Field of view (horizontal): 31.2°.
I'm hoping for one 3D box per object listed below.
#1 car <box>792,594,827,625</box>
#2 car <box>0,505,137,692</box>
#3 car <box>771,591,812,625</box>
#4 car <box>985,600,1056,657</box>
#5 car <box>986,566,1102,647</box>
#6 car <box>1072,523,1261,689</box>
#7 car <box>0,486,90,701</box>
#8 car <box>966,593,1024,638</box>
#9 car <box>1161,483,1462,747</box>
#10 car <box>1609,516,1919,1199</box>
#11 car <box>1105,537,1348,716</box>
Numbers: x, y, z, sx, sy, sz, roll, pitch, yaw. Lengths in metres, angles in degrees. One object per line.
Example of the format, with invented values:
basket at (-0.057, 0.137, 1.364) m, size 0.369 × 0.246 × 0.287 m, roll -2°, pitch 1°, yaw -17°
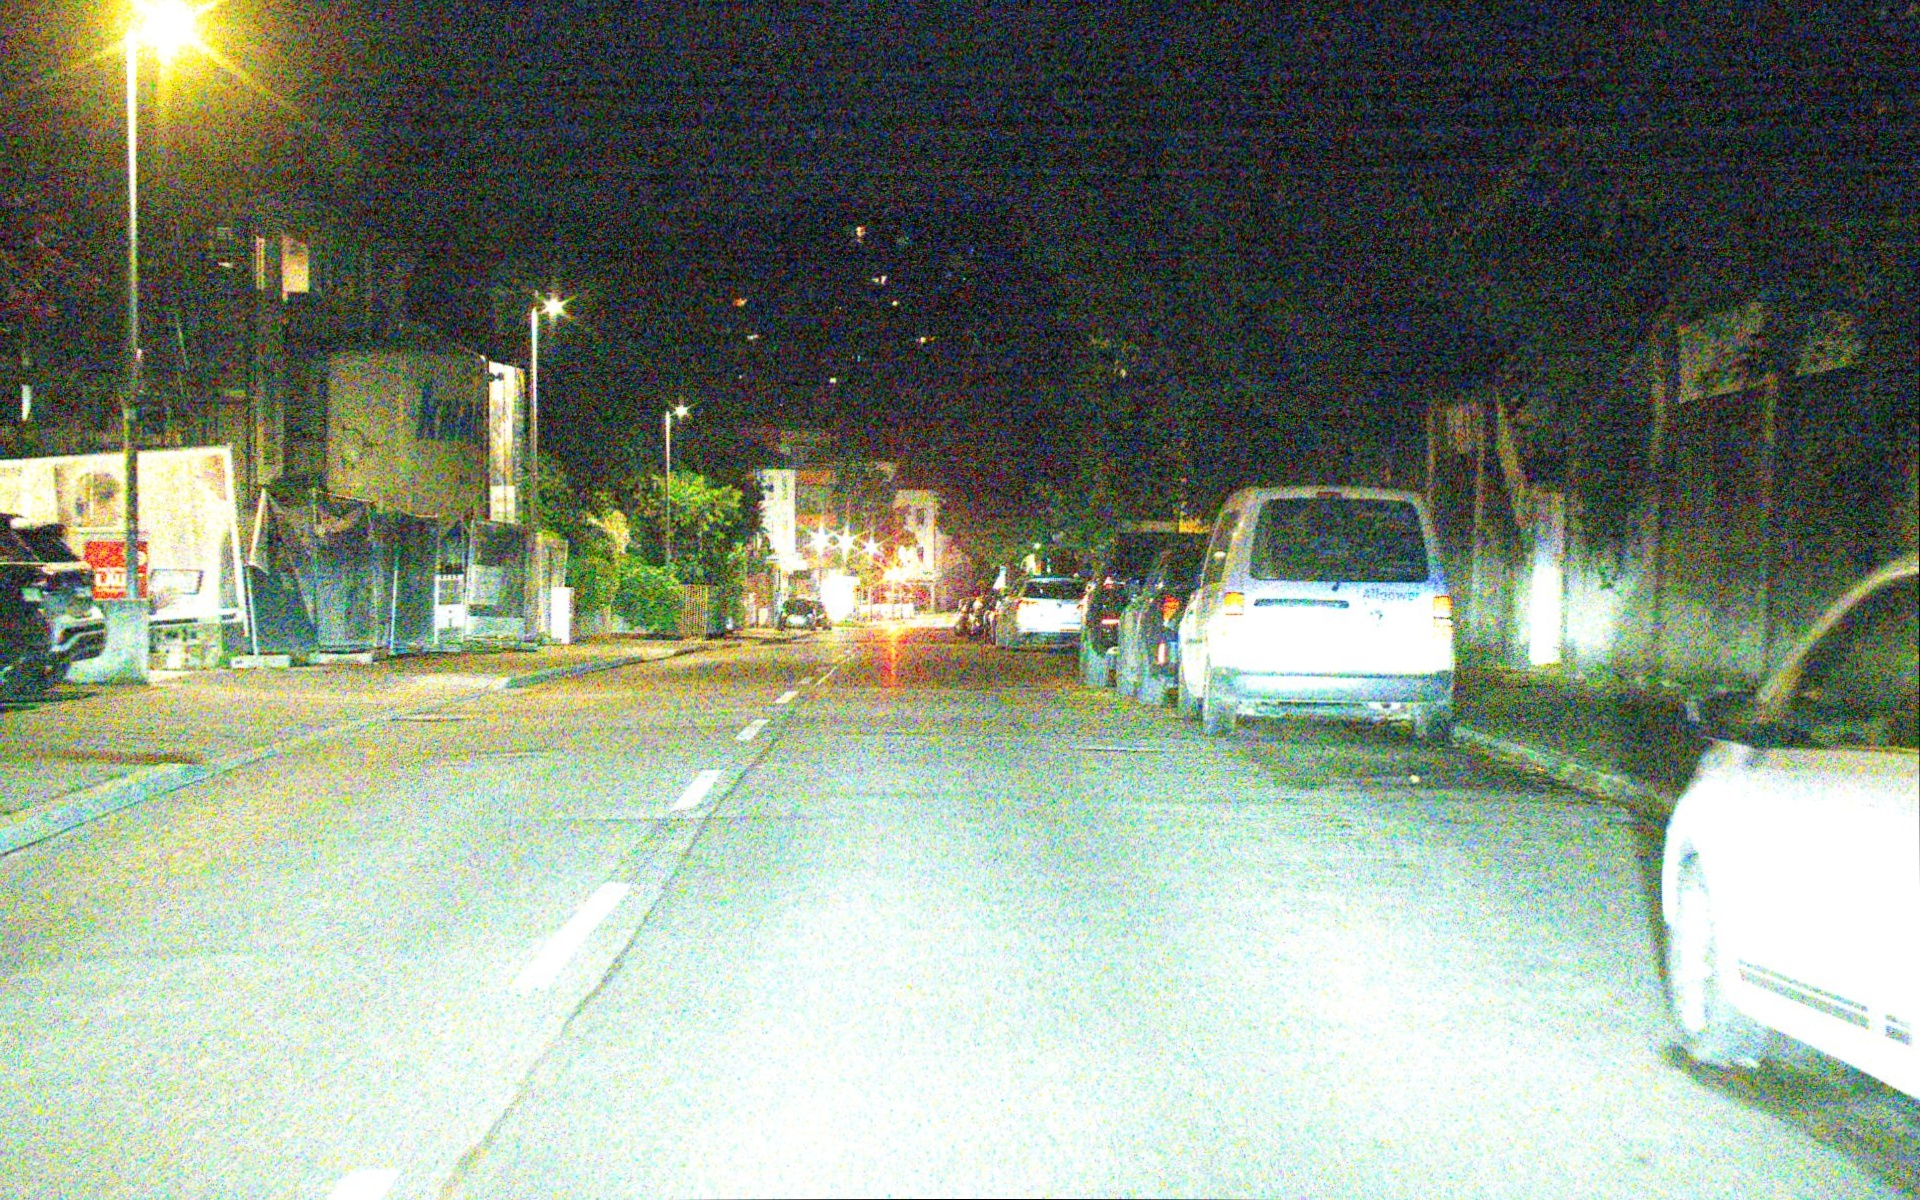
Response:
car at (-7.579, 0.476, 173.307) m, size 1.753 × 1.534 × 3.731 m, roll 0°, pitch 0°, yaw -2°
car at (-9.207, -0.048, 29.588) m, size 3.811 × 1.549 × 1.927 m, roll 0°, pitch 2°, yaw -1°
car at (-7.660, 0.382, 156.183) m, size 1.753 × 1.534 × 3.731 m, roll 0°, pitch 0°, yaw -4°
car at (1.564, 0.732, 89.772) m, size 1.629 × 1.434 × 3.865 m, roll 1°, pitch 0°, yaw -2°
car at (1.580, 0.123, 66.369) m, size 1.763 × 1.470 × 4.276 m, roll 2°, pitch 0°, yaw -4°
car at (2.152, 0.057, 36.816) m, size 1.832 × 1.658 × 4.618 m, roll 0°, pitch 0°, yaw 1°
car at (-9.243, -0.044, 26.761) m, size 4.417 × 1.608 × 2.065 m, roll 0°, pitch 0°, yaw 0°
car at (1.143, 0.498, 114.201) m, size 1.682 × 1.444 × 4.000 m, roll 1°, pitch 0°, yaw -3°
car at (2.520, 0.059, 25.699) m, size 1.718 × 1.755 × 4.758 m, roll 1°, pitch 1°, yaw 0°
car at (2.796, 0.567, 8.430) m, size 1.609 × 1.456 × 3.717 m, roll -2°, pitch 3°, yaw -1°
car at (2.345, 0.198, 31.193) m, size 1.743 × 1.466 × 4.257 m, roll 2°, pitch 1°, yaw -1°
